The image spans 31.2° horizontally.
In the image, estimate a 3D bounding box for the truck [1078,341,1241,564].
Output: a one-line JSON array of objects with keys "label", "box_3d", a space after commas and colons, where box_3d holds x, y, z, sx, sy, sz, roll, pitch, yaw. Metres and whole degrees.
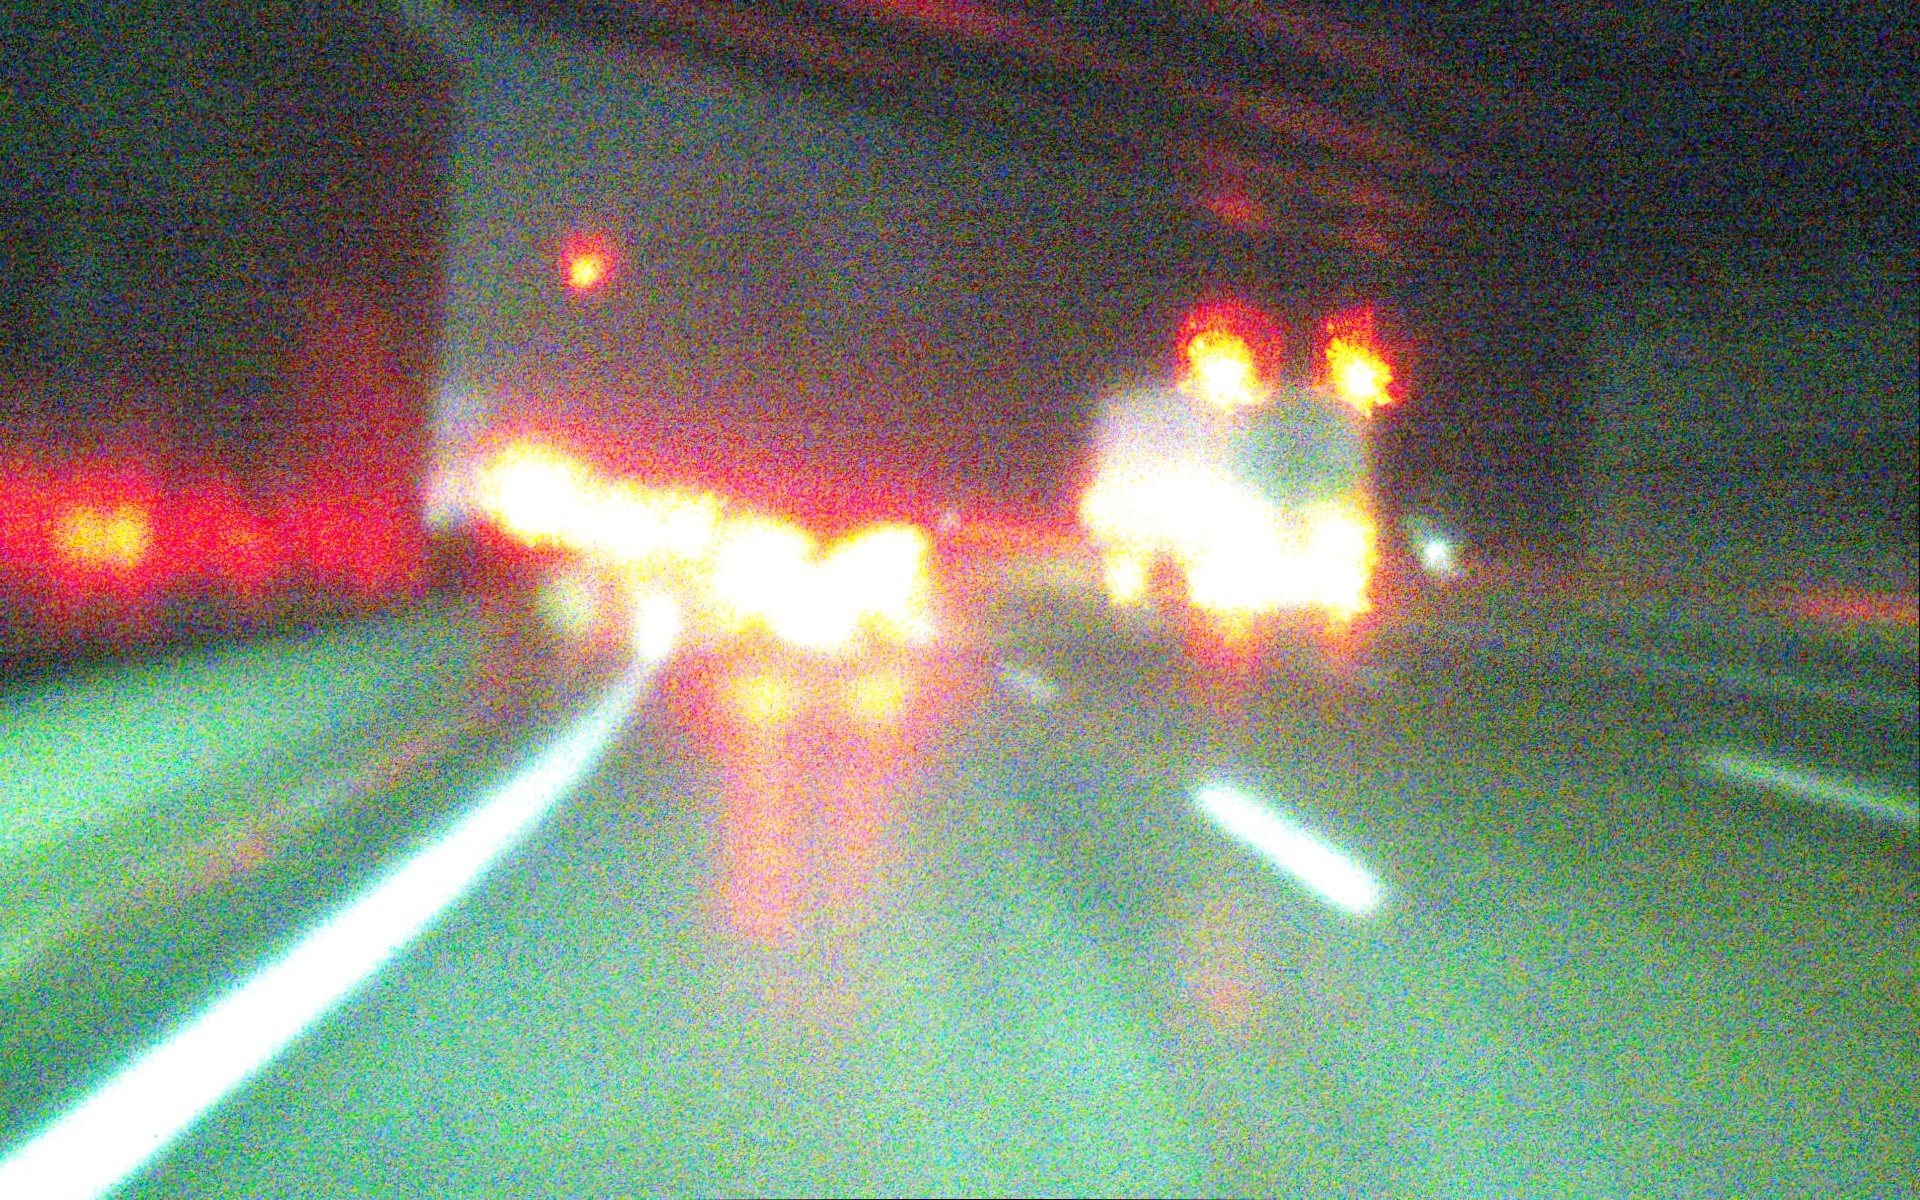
[{"label": "truck", "box_3d": [3.912, -2.900, 68.641, 2.710, 4.226, 5.293, 1, 1, -1]}]

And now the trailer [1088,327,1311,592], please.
[{"label": "trailer", "box_3d": [4.109, -2.496, 62.021, 2.739, 4.233, 13.373, -1, 2, -1]}]

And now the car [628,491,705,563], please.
[{"label": "car", "box_3d": [-8.406, -2.056, 98.332, 1.993, 2.007, 4.001, 0, 1, -8]}]

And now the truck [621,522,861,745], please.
[{"label": "truck", "box_3d": [-2.392, 0.277, 39.342, 2.145, 2.070, 6.604, 5, 2, 0]}]
